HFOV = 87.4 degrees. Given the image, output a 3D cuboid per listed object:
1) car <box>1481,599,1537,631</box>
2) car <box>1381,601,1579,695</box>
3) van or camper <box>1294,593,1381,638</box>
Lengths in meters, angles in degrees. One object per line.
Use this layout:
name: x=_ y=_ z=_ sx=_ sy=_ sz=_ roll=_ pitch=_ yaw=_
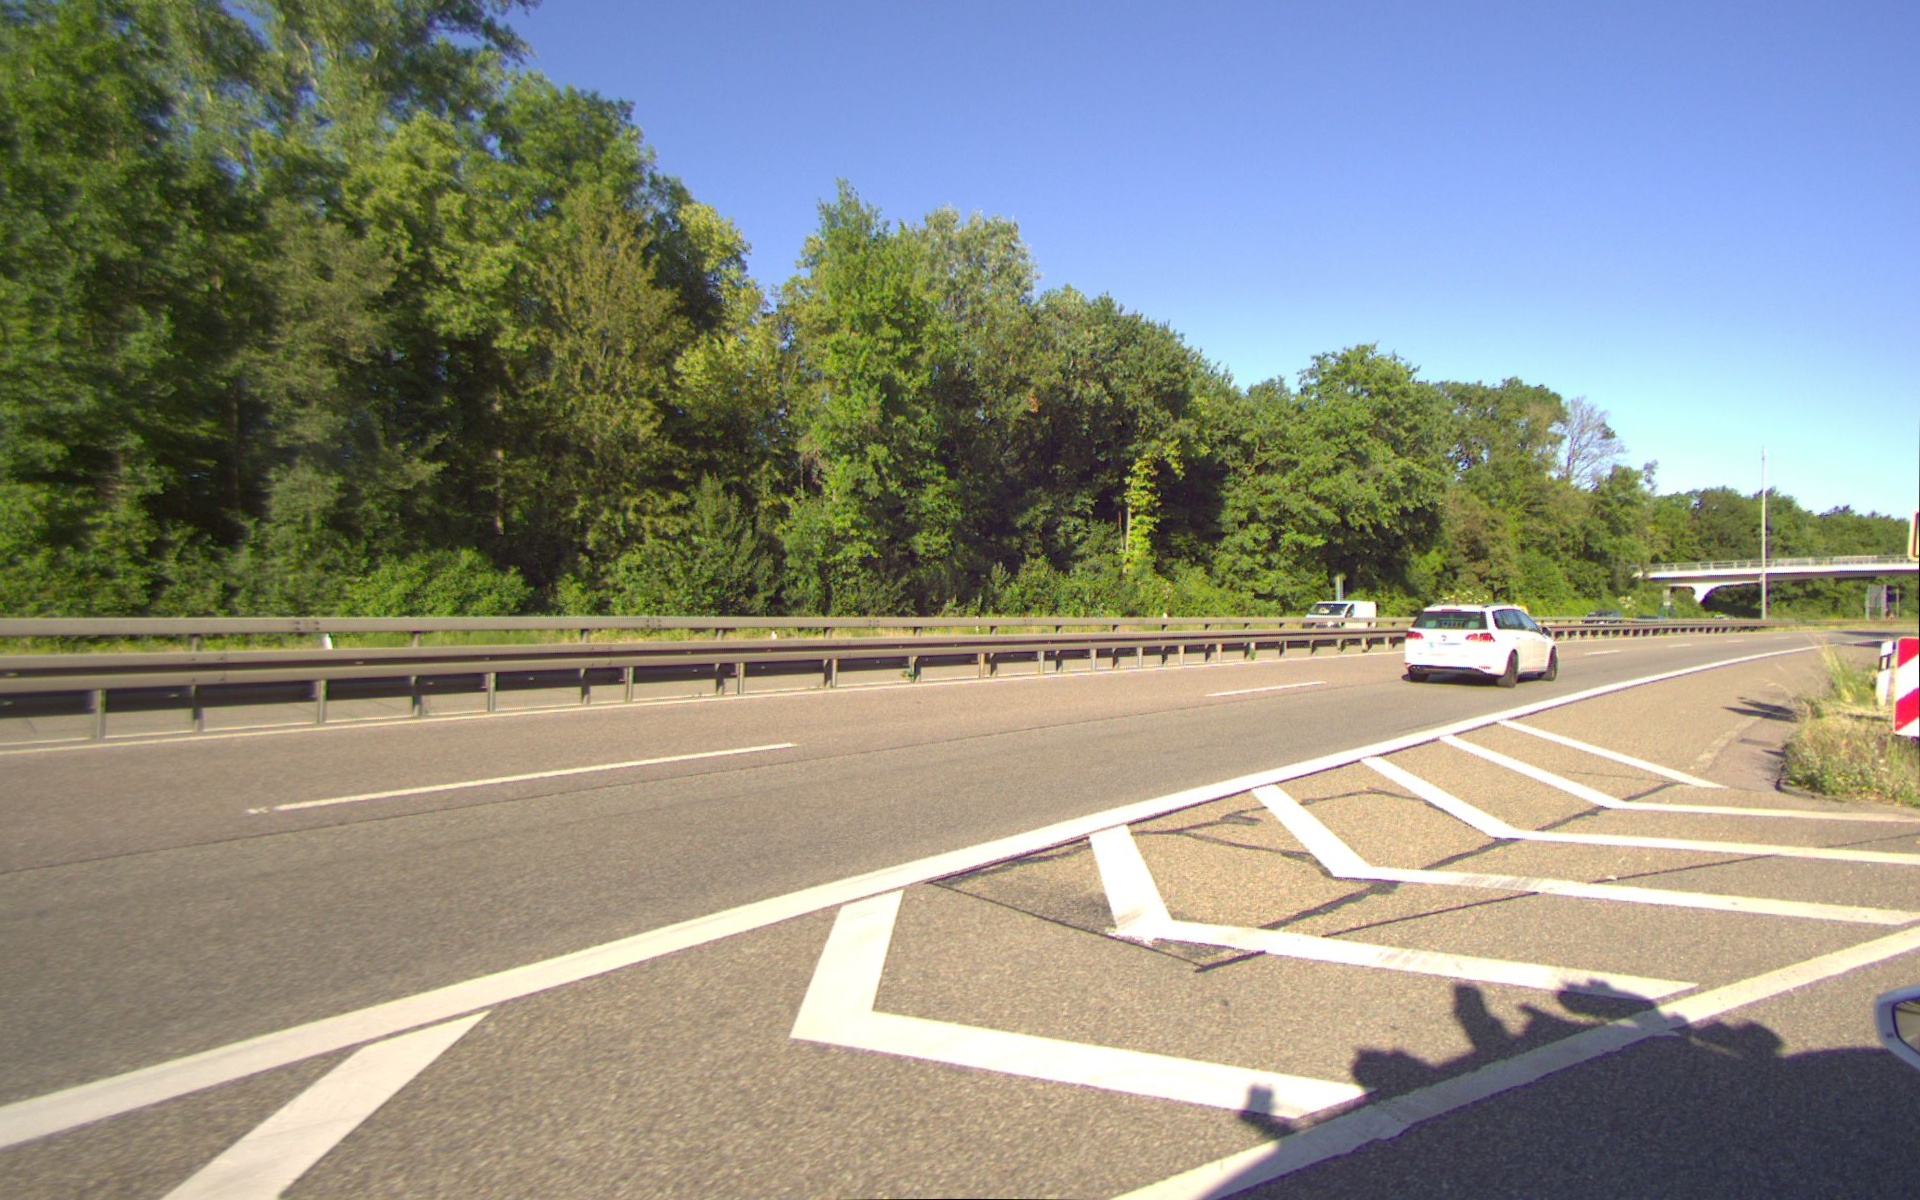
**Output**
car: x=35.273 y=0.966 z=64.465 sx=3.970 sy=2.040 sz=1.976 roll=1 pitch=-1 yaw=-42
car: x=10.172 y=0.851 z=19.403 sx=1.909 sy=1.528 sz=5.566 roll=2 pitch=0 yaw=43
van or camper: x=18.220 y=0.742 z=48.326 sx=4.785 sy=2.040 sz=2.054 roll=1 pitch=-1 yaw=-44
